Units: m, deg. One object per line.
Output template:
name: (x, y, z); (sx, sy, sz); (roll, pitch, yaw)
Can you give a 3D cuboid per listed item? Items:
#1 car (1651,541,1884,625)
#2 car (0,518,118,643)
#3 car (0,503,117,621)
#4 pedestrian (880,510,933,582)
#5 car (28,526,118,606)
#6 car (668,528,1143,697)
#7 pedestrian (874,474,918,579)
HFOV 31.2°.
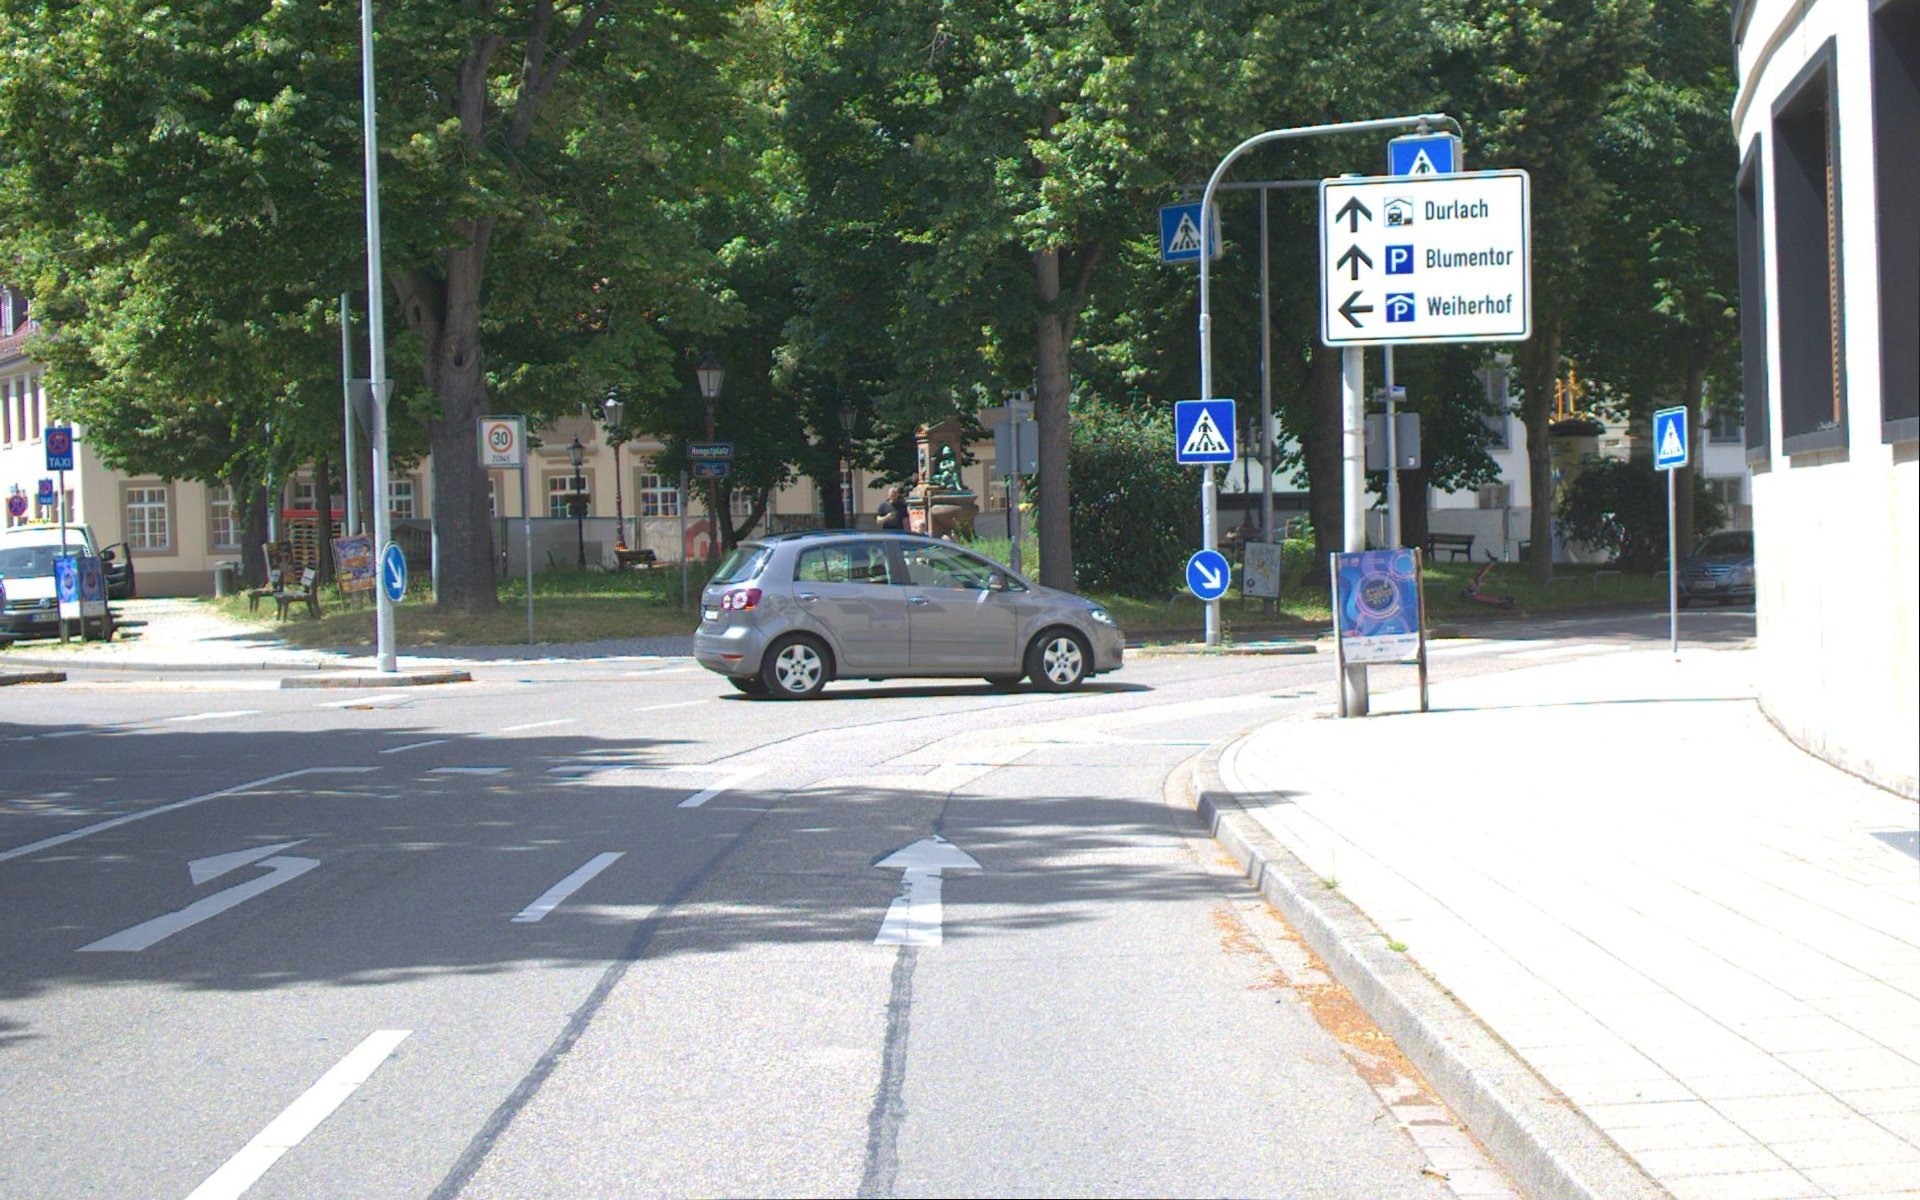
car: (15.278, -0.343, 64.974); (4.394, 1.483, 1.743); (-2, 1, -34)
car: (-14.123, -0.333, 53.255); (1.993, 1.820, 4.424); (-1, 1, -15)
car: (-16.274, -0.709, 61.862); (2.049, 1.996, 5.250); (-1, 1, -13)
pedestrian: (-0.960, -0.990, 62.548); (0.906, 1.247, 1.148); (-1, 3, 1)
car: (-19.526, -0.773, 75.795); (1.782, 1.687, 4.201); (-1, 1, -13)
car: (-0.551, 0.088, 33.284); (4.228, 1.528, 1.910); (-1, 1, -16)
pedestrian: (-1.179, -1.363, 63.456); (0.748, 1.904, 0.684); (-1, 3, 1)
